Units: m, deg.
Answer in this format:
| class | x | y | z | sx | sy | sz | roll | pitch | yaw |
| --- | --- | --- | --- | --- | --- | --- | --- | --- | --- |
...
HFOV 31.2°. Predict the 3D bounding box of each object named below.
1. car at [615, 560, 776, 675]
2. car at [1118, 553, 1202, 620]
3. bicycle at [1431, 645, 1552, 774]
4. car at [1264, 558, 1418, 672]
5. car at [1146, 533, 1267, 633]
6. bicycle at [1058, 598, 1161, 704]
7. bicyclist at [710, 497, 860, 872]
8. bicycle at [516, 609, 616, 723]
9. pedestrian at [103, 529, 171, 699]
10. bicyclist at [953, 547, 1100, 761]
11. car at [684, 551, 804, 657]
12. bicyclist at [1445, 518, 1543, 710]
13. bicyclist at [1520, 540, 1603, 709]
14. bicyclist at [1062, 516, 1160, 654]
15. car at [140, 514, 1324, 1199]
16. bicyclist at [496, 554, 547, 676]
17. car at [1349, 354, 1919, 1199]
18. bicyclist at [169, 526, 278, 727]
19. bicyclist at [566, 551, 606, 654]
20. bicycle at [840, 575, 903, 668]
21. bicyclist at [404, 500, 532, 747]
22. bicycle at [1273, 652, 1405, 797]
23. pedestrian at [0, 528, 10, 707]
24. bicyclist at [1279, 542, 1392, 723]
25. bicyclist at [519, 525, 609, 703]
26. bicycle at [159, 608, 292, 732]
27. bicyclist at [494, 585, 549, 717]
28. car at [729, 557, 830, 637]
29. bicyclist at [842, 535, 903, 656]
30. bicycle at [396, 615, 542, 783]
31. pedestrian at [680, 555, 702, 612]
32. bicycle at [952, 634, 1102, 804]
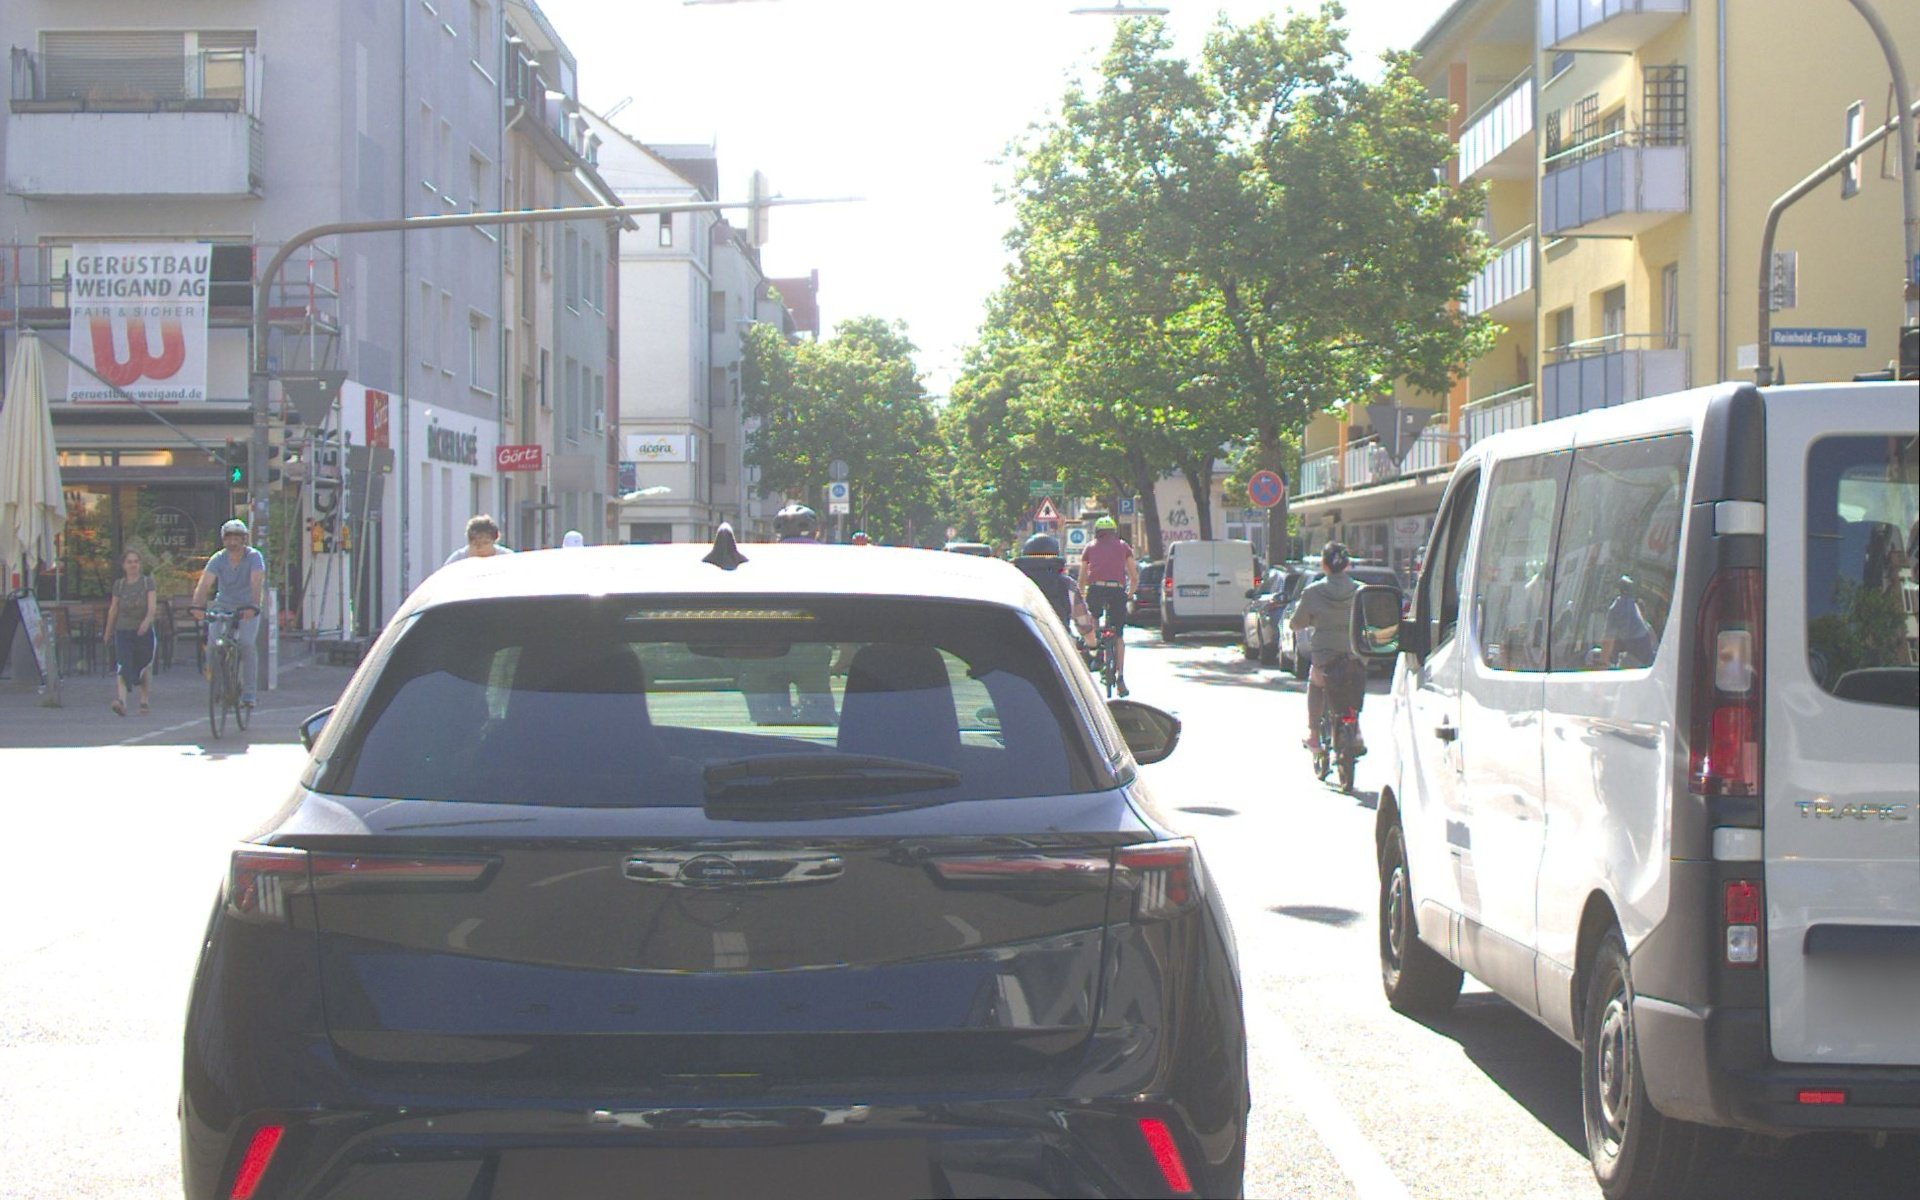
| class | x | y | z | sx | sy | sz | roll | pitch | yaw |
| --- | --- | --- | --- | --- | --- | --- | --- | --- | --- |
| car | -3.434 | 0.193 | 45.311 | 1.837 | 1.429 | 4.177 | 0 | 1 | 0 |
| car | 4.503 | -0.321 | 77.824 | 1.712 | 1.478 | 3.381 | 0 | 1 | 0 |
| bicycle | 3.897 | 0.787 | 25.304 | 0.620 | 0.863 | 1.876 | 0 | 1 | 1 |
| car | 5.159 | 0.175 | 46.937 | 1.712 | 1.478 | 3.480 | 0 | 1 | 0 |
| car | 4.655 | -0.346 | 65.560 | 2.046 | 1.840 | 4.584 | 0 | 1 | 1 |
| bicycle | 1.467 | 0.488 | 34.042 | 0.856 | 0.942 | 2.307 | 2 | 1 | -1 |
| bicyclist | -0.794 | 0.367 | 15.798 | 0.632 | 1.663 | 1.050 | -1 | 1 | -1 |
| bicycle | -3.569 | 0.584 | 31.255 | 0.679 | 0.949 | 1.934 | -1 | 1 | 0 |
| pedestrian | -7.674 | 0.125 | 32.067 | 0.531 | 1.576 | 0.563 | 0 | 1 | -4 |
| bicyclist | 0.417 | 0.328 | 22.115 | 0.856 | 1.310 | 1.210 | 2 | 1 | -1 |
| car | -3.314 | 0.046 | 53.303 | 1.592 | 1.560 | 4.089 | -1 | 0 | 0 |
| bicyclist | 3.889 | 0.091 | 25.078 | 0.588 | 1.378 | 0.823 | 0 | 1 | 1 |
| bicyclist | 4.981 | 0.196 | 28.486 | 0.547 | 1.378 | 0.823 | 0 | 1 | 1 |
| bicyclist | 1.492 | -0.158 | 34.105 | 0.856 | 1.310 | 1.210 | 2 | 1 | -1 |
| car | -0.363 | 0.634 | 7.127 | 1.762 | 1.553 | 4.000 | 0 | 0 | -1 |
| bicyclist | -5.505 | 0.181 | 43.155 | 0.542 | 1.515 | 0.774 | 0 | 1 | 0 |
| car | 2.416 | 0.461 | 9.652 | 1.968 | 1.933 | 5.056 | 1 | 0 | -1 |
| bicyclist | -6.119 | 0.209 | 28.591 | 0.679 | 1.625 | 0.899 | -1 | 1 | 0 |
| bicyclist | -5.669 | 0.026 | 52.107 | 0.553 | 1.543 | 0.814 | 1 | 1 | -4 |
| bicycle | -1.211 | 0.283 | 47.451 | 0.801 | 1.251 | 2.139 | 0 | 1 | 0 |
| bicyclist | -3.286 | 0.148 | 23.039 | 0.716 | 1.614 | 0.946 | -1 | 0 | 0 |
| bicycle | 2.491 | 0.804 | 22.774 | 0.691 | 0.863 | 1.876 | 0 | 1 | 1 |
| pedestrian | -9.306 | 0.166 | 32.277 | 0.573 | 1.683 | 0.669 | 0 | 1 | 3 |
| bicyclist | 2.494 | 0.211 | 22.897 | 0.692 | 1.189 | 0.595 | 0 | 1 | 1 |
| bicyclist | -3.584 | 0.117 | 31.145 | 0.679 | 1.571 | 0.899 | -1 | 1 | 0 |
| bicycle | -6.106 | 0.567 | 28.673 | 0.679 | 0.949 | 1.934 | -1 | 1 | 0 |
| bicyclist | -4.688 | 0.535 | 36.789 | 0.542 | 1.386 | 0.788 | 0 | 1 | -4 |
| car | -3.391 | -0.081 | 64.883 | 1.804 | 1.408 | 4.426 | -2 | 1 | -3 |
| bicyclist | -1.203 | -0.069 | 47.491 | 0.801 | 1.644 | 1.125 | 0 | 1 | 1 |
| bicycle | -3.281 | 0.643 | 23.115 | 0.716 | 1.060 | 1.872 | -1 | 0 | 0 |
| pedestrian | -7.410 | -0.454 | 94.704 | 0.577 | 1.577 | 0.708 | 0 | 1 | -6 |
| bicycle | 0.404 | 0.737 | 22.079 | 0.856 | 0.942 | 2.307 | 2 | 1 | -1 |
